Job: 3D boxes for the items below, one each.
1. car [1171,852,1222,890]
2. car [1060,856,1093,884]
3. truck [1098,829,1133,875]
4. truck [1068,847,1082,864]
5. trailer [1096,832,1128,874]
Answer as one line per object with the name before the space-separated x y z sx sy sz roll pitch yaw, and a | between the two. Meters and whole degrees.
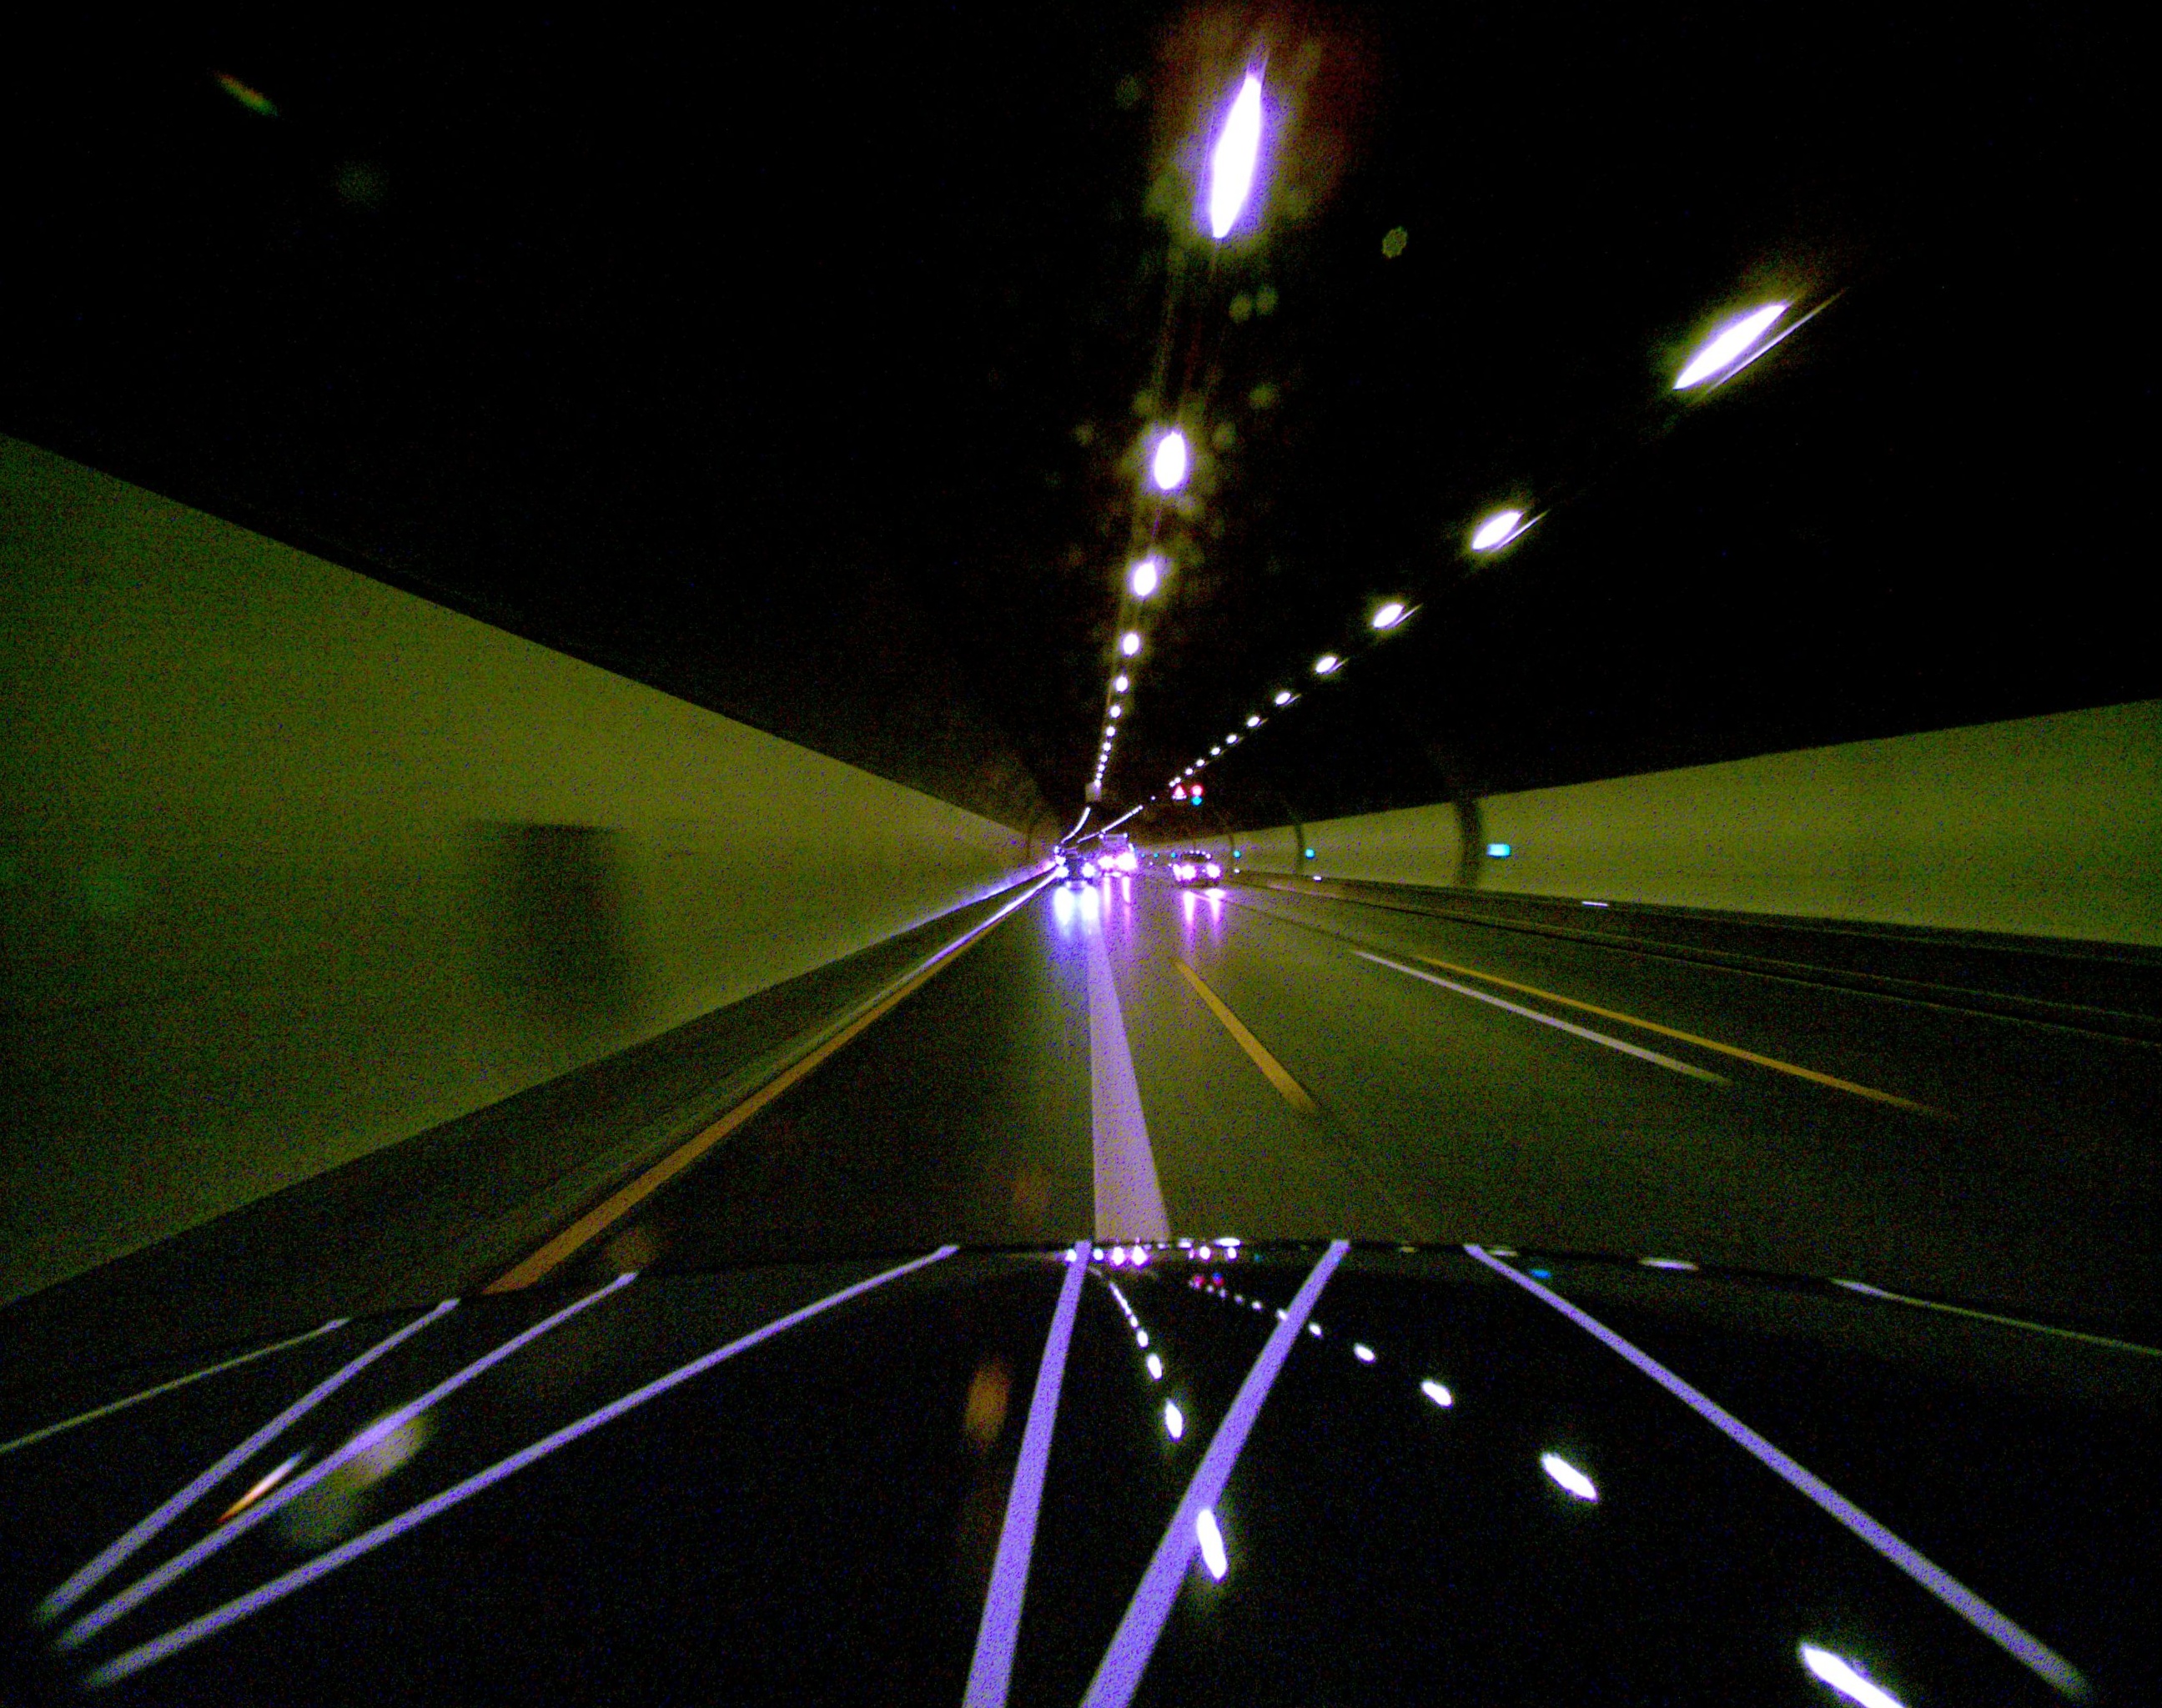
car | 5.259 0.730 35.050 1.766 1.563 4.097 -2 1 1
car | -0.205 0.847 42.995 1.728 1.474 4.000 -1 0 1
truck | 2.626 -0.158 58.682 2.374 3.328 4.719 -3 0 2
truck | -0.993 0.347 125.990 2.151 2.608 9.907 -1 -1 -1
trailer | 2.537 -0.070 65.570 2.374 3.328 12.078 0 0 1
